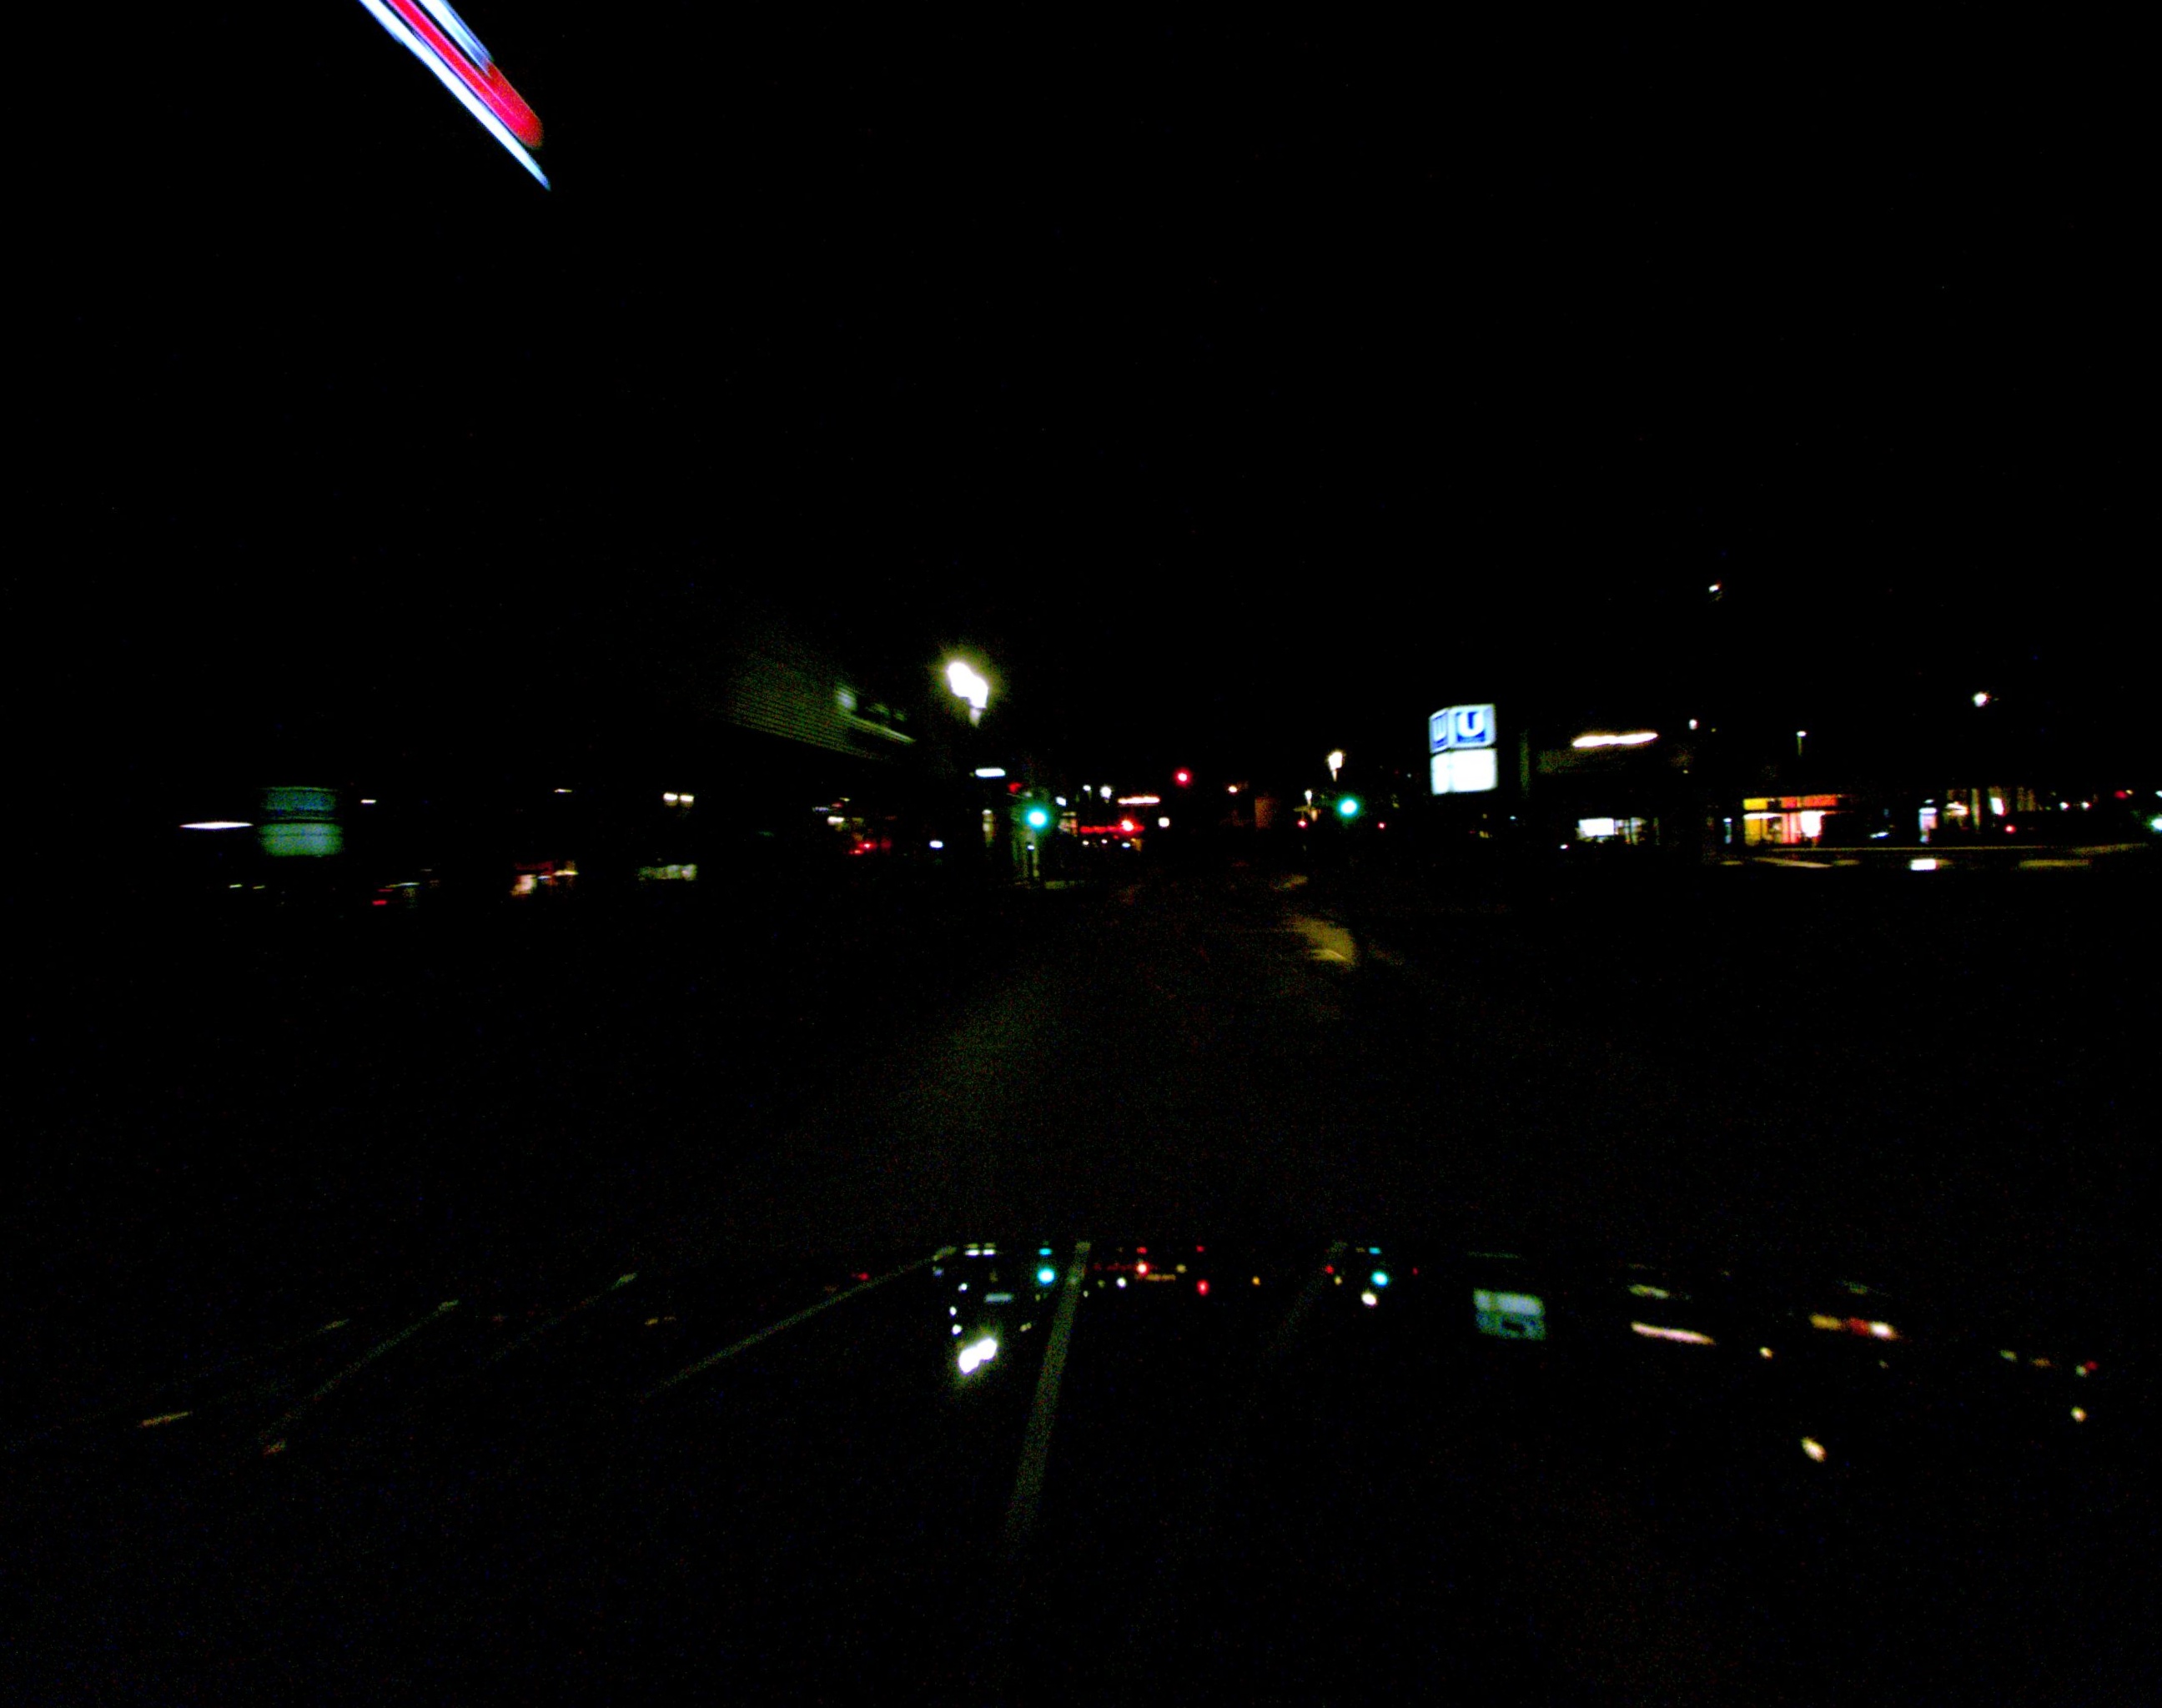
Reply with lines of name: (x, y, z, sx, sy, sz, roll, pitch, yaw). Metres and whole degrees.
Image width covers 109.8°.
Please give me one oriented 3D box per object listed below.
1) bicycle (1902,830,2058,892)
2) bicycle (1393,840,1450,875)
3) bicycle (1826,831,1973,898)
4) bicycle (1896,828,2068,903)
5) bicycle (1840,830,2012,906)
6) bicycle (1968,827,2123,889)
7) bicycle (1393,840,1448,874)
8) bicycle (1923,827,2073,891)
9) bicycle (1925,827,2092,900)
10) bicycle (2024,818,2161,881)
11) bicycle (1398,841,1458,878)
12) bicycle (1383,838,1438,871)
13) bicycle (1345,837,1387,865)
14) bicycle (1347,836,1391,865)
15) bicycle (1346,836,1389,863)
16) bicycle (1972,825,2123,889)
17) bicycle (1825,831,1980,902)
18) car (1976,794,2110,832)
bicycle: (16.489, 0.132, 13.992, 0.610, 1.063, 1.743, -2, 0, -27)
bicycle: (11.616, 0.122, 25.965, 1.619, 1.099, 0.670, -3, 2, 9)
bicycle: (15.162, 0.186, 14.127, 0.609, 1.159, 1.744, -2, 0, -23)
bicycle: (15.074, 0.186, 12.775, 0.609, 1.159, 1.744, -2, 0, -23)
bicycle: (13.873, 0.225, 12.541, 0.762, 1.155, 1.744, -2, 0, -23)
bicycle: (18.257, 0.080, 14.451, 0.609, 1.094, 1.746, -2, 0, -9)
bicycle: (11.900, 0.089, 26.683, 1.619, 1.099, 0.670, -2, 2, 9)
bicycle: (17.395, 0.096, 14.479, 0.609, 1.118, 1.746, -2, 0, -9)
bicycle: (15.895, 0.158, 13.096, 0.609, 1.159, 1.746, -2, 0, -8)
bicycle: (20.691, -0.085, 15.492, 0.609, 1.211, 1.746, -2, 0, -9)
bicycle: (11.263, 0.172, 24.699, 1.619, 1.099, 0.670, -3, 2, 9)
bicycle: (12.423, 0.011, 28.693, 1.772, 1.157, 0.670, -2, 2, 9)
bicycle: (13.592, -0.150, 36.305, 1.737, 1.151, 0.787, -5, 2, 14)
bicycle: (13.382, -0.169, 35.344, 1.737, 1.160, 0.788, -5, 1, 14)
bicycle: (14.176, -0.235, 37.620, 1.837, 1.151, 0.787, -5, 2, 14)
bicycle: (18.852, 0.061, 14.880, 0.609, 1.159, 1.746, -2, 0, -9)
bicycle: (14.314, 0.215, 13.303, 0.545, 1.148, 1.744, -2, 0, -23)
car: (55.704, -2.315, 44.128, 4.407, 1.925, 1.964, -2, 0, 24)
